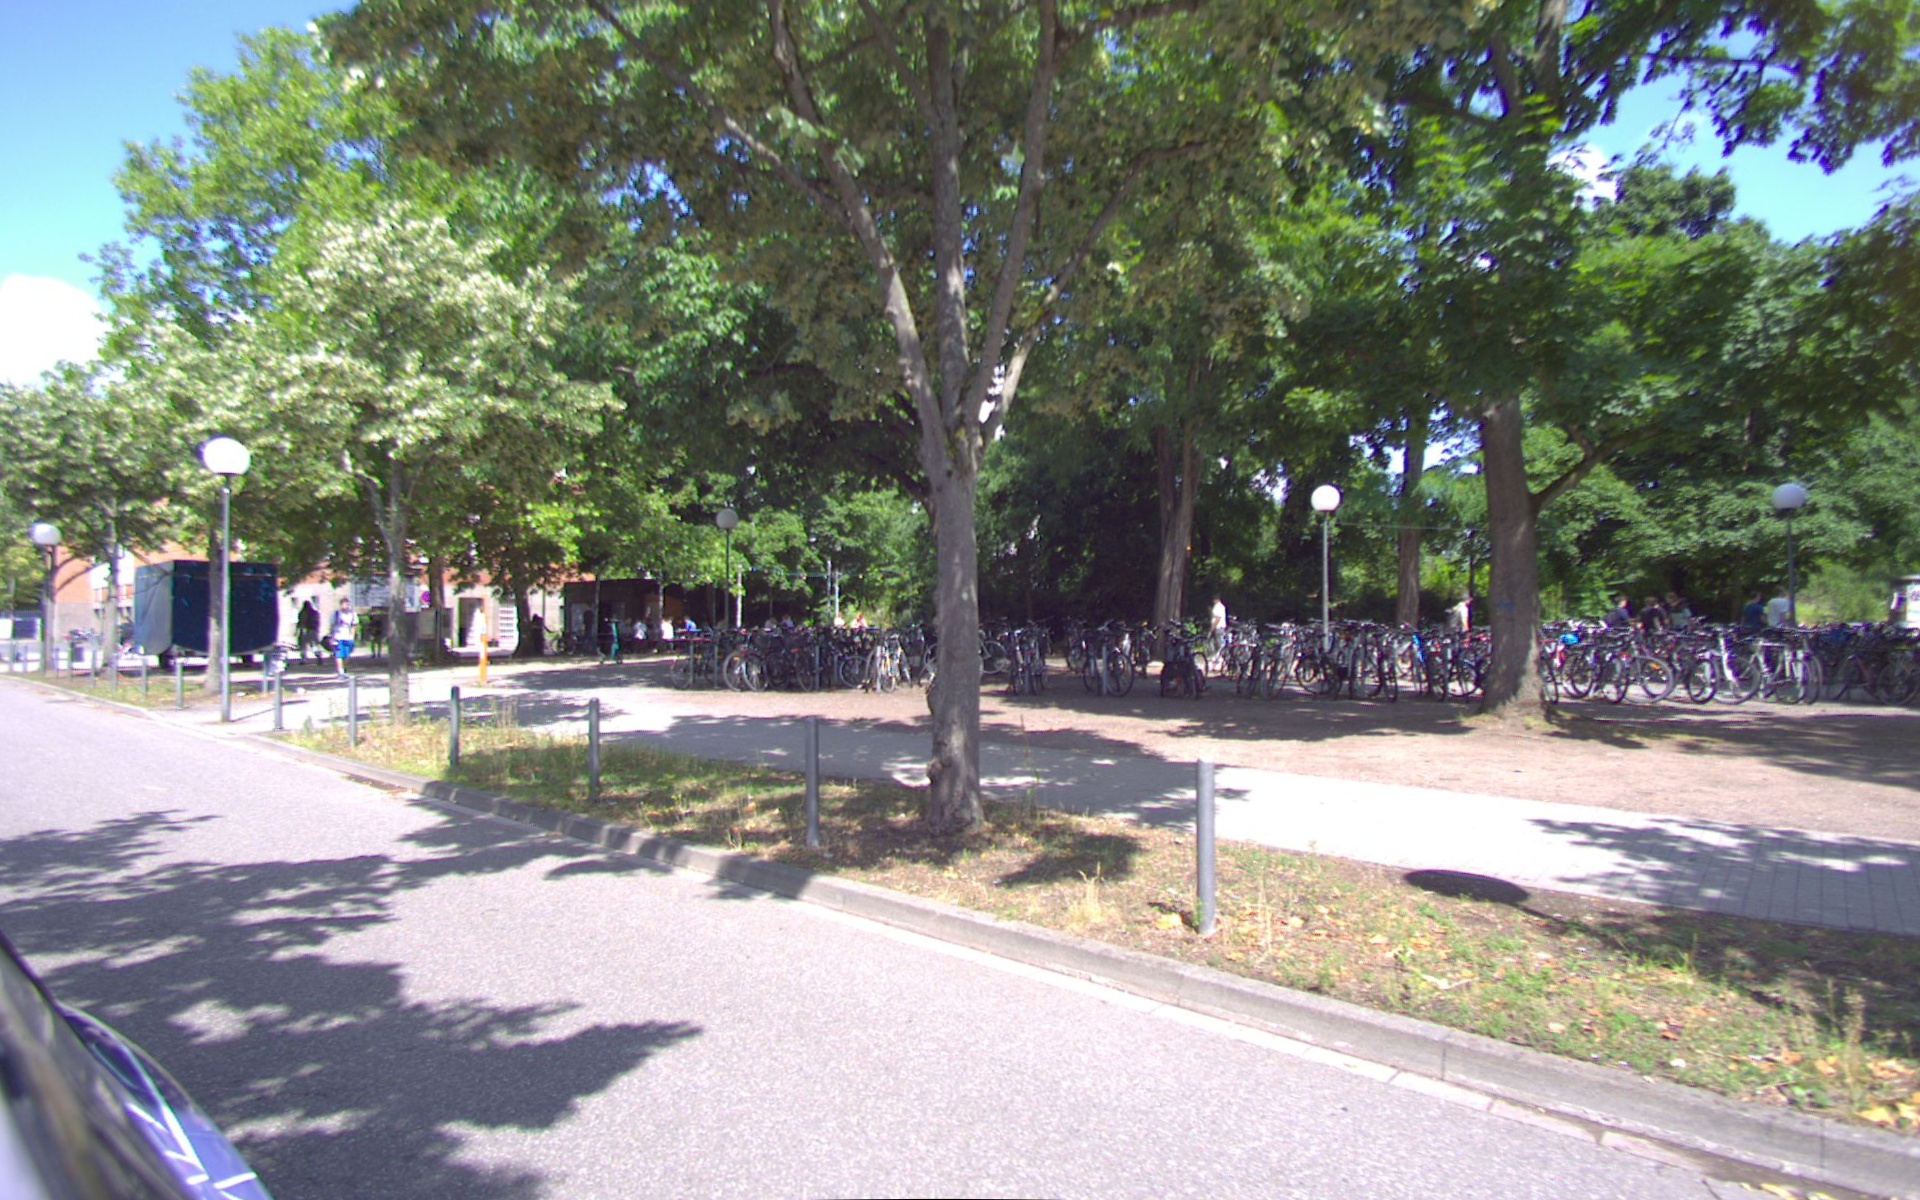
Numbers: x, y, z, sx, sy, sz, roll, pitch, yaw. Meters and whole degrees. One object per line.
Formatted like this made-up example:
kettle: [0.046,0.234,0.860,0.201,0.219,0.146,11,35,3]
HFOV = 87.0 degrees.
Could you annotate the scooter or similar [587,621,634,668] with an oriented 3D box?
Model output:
scooter or similar: [-9.602,1.208,27.789,1.241,1.255,0.691,-2,-1,41]

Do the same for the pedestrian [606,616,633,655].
pedestrian: [-12.478,1.305,37.086,0.733,1.380,0.594,-3,-2,7]

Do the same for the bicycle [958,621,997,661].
bicycle: [0.533,1.194,29.806,0.592,1.099,1.946,0,0,18]

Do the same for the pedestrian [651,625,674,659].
pedestrian: [-11.632,1.633,39.540,0.693,1.281,0.554,-2,-1,41]

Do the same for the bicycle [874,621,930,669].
bicycle: [-1.385,1.074,24.457,0.534,1.097,1.952,-1,-1,23]

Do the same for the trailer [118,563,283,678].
trailer: [-22.627,0.617,30.028,6.262,3.049,2.668,-2,-1,41]

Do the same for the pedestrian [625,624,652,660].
pedestrian: [-11.580,1.501,36.458,0.733,1.243,0.594,-3,-2,7]

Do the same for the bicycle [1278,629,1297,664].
bicycle: [9.131,1.277,28.182,0.416,0.900,1.755,-1,-1,20]

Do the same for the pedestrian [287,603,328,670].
pedestrian: [-19.784,1.079,30.700,0.906,1.969,0.894,-2,0,-39]

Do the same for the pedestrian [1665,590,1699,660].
pedestrian: [18.056,0.631,25.318,0.539,1.727,0.412,-1,-1,10]

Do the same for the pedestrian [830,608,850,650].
pedestrian: [-4.152,1.008,35.014,0.458,1.433,0.501,-2,-1,31]

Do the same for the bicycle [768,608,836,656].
bicycle: [-3.885,0.782,25.023,0.535,1.134,1.947,-2,-1,30]

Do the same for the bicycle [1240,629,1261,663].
bicycle: [8.152,1.269,28.395,0.416,0.900,1.755,-1,-1,20]

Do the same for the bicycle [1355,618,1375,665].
bicycle: [11.014,1.107,27.523,0.421,1.216,1.782,-1,-1,24]

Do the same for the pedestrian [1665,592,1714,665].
pedestrian: [17.083,0.660,23.708,0.685,1.683,0.555,-1,-1,6]

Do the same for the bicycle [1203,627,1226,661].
bicycle: [7.200,1.239,28.582,0.416,0.900,1.755,-1,-1,20]

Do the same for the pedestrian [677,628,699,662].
pedestrian: [-10.855,1.794,40.408,0.559,1.333,0.638,-2,-3,42]

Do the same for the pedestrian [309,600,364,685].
pedestrian: [-13.928,0.933,22.604,0.986,1.844,0.791,-2,-2,41]

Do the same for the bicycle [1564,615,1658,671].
bicycle: [13.747,0.884,21.454,0.726,1.117,2.300,-1,-1,8]

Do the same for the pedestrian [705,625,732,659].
pedestrian: [-9.022,1.571,37.805,0.764,1.260,0.565,-2,-1,29]

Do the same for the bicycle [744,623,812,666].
bicycle: [-4.556,1.106,25.439,0.535,1.011,1.947,-2,-1,30]

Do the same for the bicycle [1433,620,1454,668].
bicycle: [12.823,1.153,26.874,0.421,1.216,1.782,-1,-1,24]

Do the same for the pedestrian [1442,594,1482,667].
pedestrian: [11.774,0.714,23.756,0.623,1.683,0.577,-1,-1,6]

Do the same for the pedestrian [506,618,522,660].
pedestrian: [-18.606,1.640,42.213,0.441,1.724,0.531,-2,-1,-3]

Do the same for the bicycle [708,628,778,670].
bicycle: [-5.625,1.252,26.285,0.537,1.022,1.783,-2,-1,43]

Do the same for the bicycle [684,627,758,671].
bicycle: [-5.912,1.189,25.095,0.537,1.022,1.783,-2,-1,43]

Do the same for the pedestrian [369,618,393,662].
pedestrian: [-22.166,1.530,38.729,0.643,1.678,0.623,-2,-1,42]

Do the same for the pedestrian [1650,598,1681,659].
pedestrian: [18.082,0.734,25.956,0.481,1.538,0.408,-1,-1,10]

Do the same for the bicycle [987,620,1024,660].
bicycle: [1.350,1.166,29.759,0.592,1.099,1.946,0,0,18]

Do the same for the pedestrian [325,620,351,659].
pedestrian: [-24.607,1.555,40.031,0.499,1.521,0.735,-2,-1,42]

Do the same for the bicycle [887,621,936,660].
bicycle: [-1.461,1.215,30.703,0.594,1.099,1.940,0,-1,27]

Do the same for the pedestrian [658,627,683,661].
pedestrian: [-11.718,1.775,40.939,0.778,1.333,0.680,-2,-3,42]

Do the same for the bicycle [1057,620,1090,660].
bicycle: [3.343,1.145,29.728,0.592,1.099,1.946,0,0,18]

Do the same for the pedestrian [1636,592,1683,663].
pedestrian: [16.866,0.664,24.412,0.695,1.683,0.555,-1,-1,6]

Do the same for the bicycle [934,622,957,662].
bicycle: [-0.422,1.216,29.734,0.589,1.099,1.957,0,0,2]

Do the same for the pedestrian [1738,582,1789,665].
pedestrian: [19.246,0.563,24.264,0.673,1.948,0.621,-1,-1,6]

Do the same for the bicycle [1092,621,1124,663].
bicycle: [4.185,1.164,28.541,0.592,1.099,1.946,0,0,18]

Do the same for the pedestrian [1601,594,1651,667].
pedestrian: [15.618,0.703,23.736,0.721,1.683,0.631,-1,-1,6]

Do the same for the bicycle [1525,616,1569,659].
bicycle: [15.060,0.948,26.013,0.502,1.043,2.050,-1,-1,17]

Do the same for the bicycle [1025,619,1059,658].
bicycle: [2.452,1.142,30.167,0.592,1.099,1.946,0,0,18]

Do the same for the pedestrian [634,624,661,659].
pedestrian: [-11.456,1.510,37.086,0.733,1.243,0.594,-3,-2,7]

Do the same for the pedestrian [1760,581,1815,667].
pedestrian: [19.188,0.554,23.468,0.688,1.948,0.647,-1,-1,6]

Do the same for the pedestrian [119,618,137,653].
pedestrian: [-42.931,1.811,52.222,0.917,1.793,0.570,-1,-2,40]

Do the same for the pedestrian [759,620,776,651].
pedestrian: [-7.130,1.314,37.538,0.505,1.148,0.333,-2,-1,30]

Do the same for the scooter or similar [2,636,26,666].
scooter or similar: [-38.660,2.074,41.352,0.556,1.158,1.352,1,-2,-37]

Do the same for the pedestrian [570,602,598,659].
pedestrian: [-12.357,1.006,33.281,0.805,1.862,0.524,-2,-1,41]

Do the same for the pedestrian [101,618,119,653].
pedestrian: [-43.357,1.790,51.635,0.805,1.775,0.557,-1,-2,40]

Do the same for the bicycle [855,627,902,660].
bicycle: [-2.501,1.321,31.222,0.544,0.949,1.866,0,-1,27]

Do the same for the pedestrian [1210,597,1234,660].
pedestrian: [6.837,0.731,26.420,0.462,1.626,0.346,-2,-1,44]

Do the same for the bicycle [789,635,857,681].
bicycle: [-3.311,1.395,24.630,0.535,1.035,1.947,-2,-1,30]

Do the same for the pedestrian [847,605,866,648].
pedestrian: [-3.659,0.931,35.821,0.472,1.534,0.502,-2,-1,30]

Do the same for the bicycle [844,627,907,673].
bicycle: [-2.044,1.203,24.734,0.535,1.035,1.947,-2,-1,30]

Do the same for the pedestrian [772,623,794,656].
pedestrian: [-6.527,1.441,37.270,0.728,1.203,0.388,-2,-1,32]

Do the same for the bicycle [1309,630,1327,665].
bicycle: [9.891,1.293,27.914,0.416,0.900,1.755,-1,-1,20]
